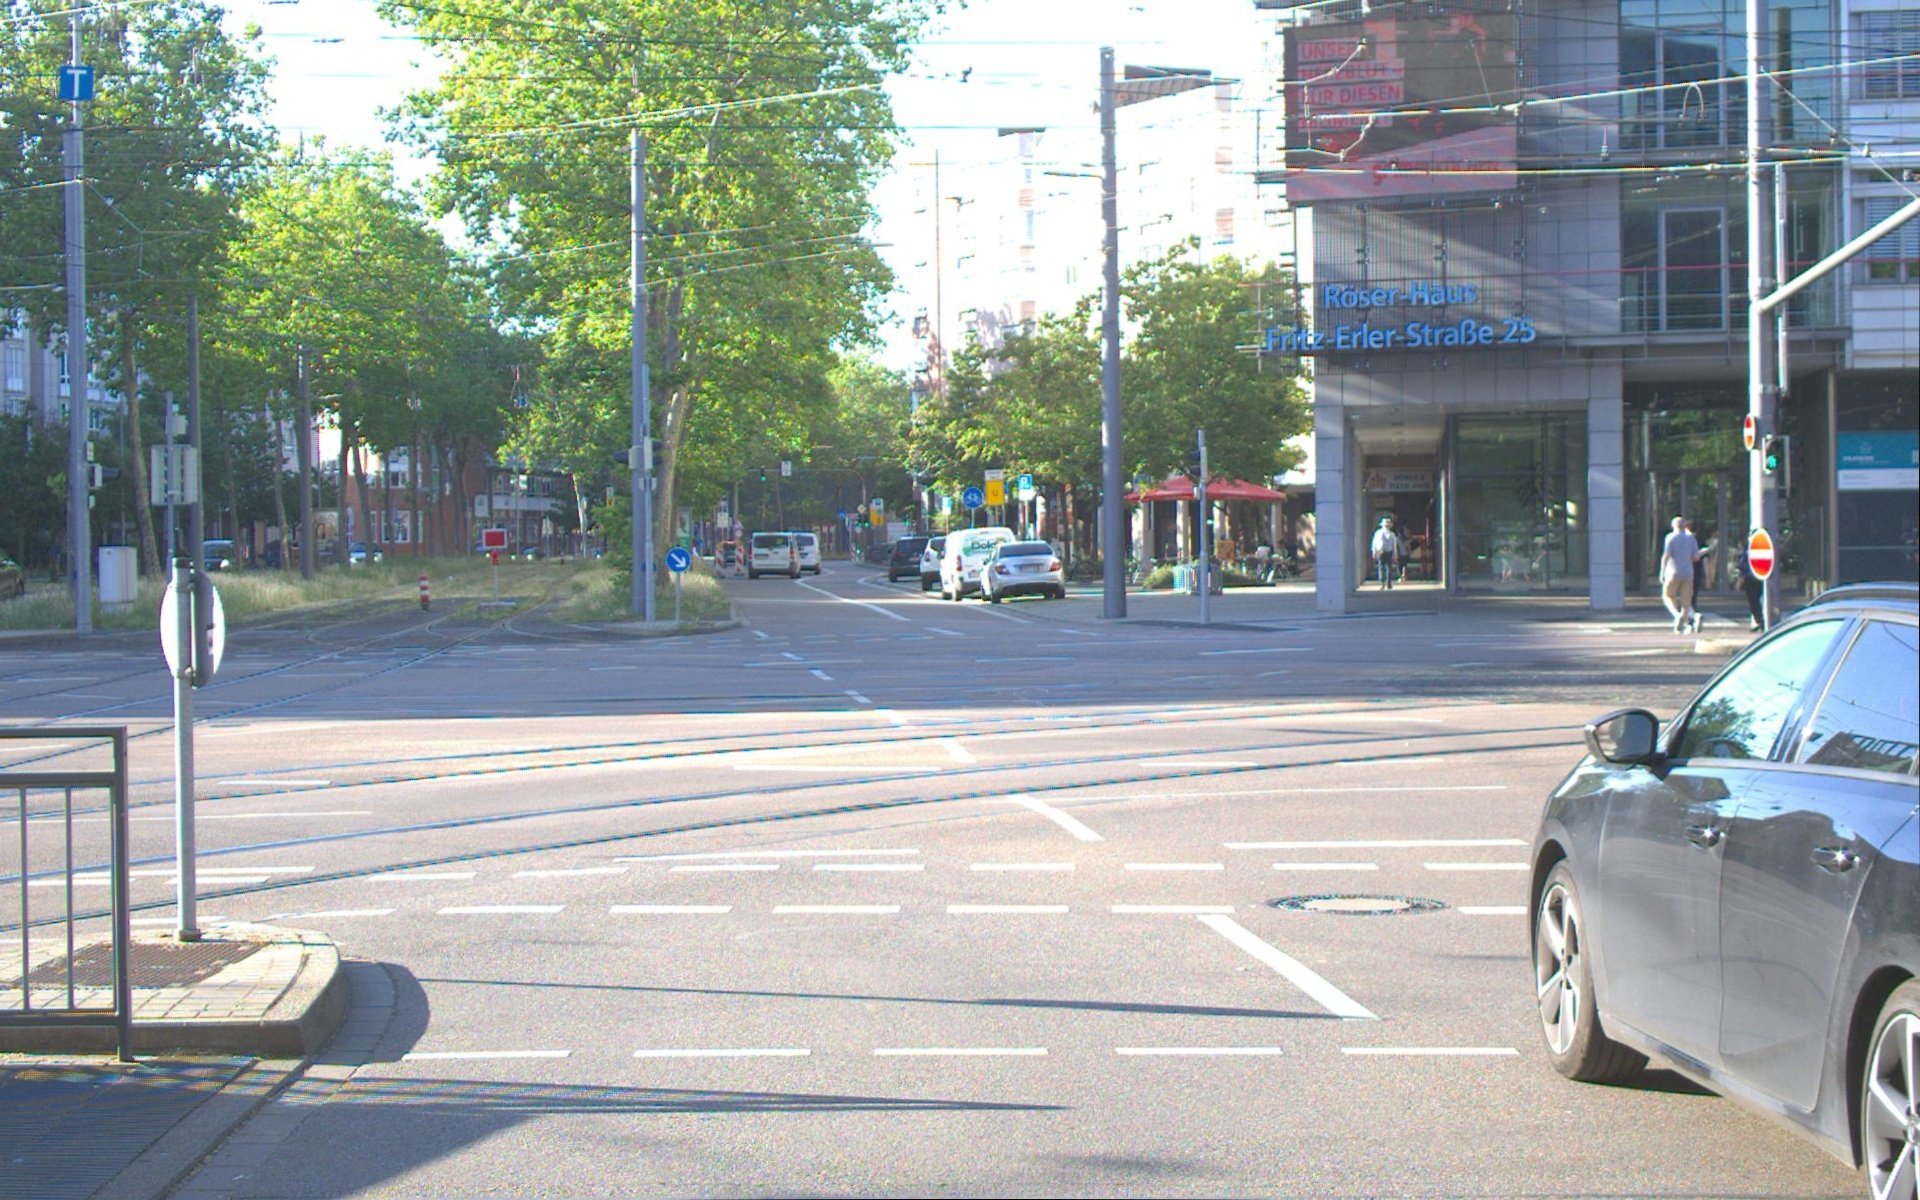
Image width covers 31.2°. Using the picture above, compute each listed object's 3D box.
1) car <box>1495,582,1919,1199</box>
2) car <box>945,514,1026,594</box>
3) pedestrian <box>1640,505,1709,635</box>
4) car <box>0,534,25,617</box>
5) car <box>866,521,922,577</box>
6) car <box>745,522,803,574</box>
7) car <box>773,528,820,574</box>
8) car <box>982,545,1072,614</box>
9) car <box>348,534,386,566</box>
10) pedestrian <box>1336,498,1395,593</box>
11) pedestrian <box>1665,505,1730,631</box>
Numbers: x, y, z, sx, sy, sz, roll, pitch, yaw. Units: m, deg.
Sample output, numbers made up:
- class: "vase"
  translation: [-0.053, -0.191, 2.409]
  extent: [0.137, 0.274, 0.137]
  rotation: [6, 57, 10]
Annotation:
- class: "car"
  translation: [2.631, 0.687, 8.112]
  extent: [1.763, 1.399, 4.297]
  rotation: [0, 1, -4]
- class: "car"
  translation: [0.645, -1.202, 89.614]
  extent: [1.993, 2.007, 4.000]
  rotation: [1, 1, -1]
- class: "pedestrian"
  translation: [11.186, -0.469, 53.827]
  extent: [0.869, 2.007, 0.794]
  rotation: [1, 0, -1]
- class: "car"
  translation: [-21.666, -0.534, 74.997]
  extent: [1.822, 1.784, 4.001]
  rotation: [-1, 1, -7]
- class: "car"
  translation: [-2.418, -1.858, 126.621]
  extent: [1.993, 2.007, 4.000]
  rotation: [1, 1, -1]
- class: "car"
  translation: [-7.341, -2.050, 136.042]
  extent: [1.993, 2.007, 4.000]
  rotation: [1, 1, 1]
- class: "car"
  translation: [-7.286, -2.194, 153.568]
  extent: [1.993, 2.007, 4.000]
  rotation: [1, 1, -2]
- class: "car"
  translation: [1.594, -0.495, 82.795]
  extent: [2.029, 1.590, 4.000]
  rotation: [1, 1, -1]
- class: "car"
  translation: [-30.417, -2.548, 176.470]
  extent: [1.676, 1.601, 4.001]
  rotation: [-1, 1, -7]
- class: "pedestrian"
  translation: [9.414, -1.264, 79.803]
  extent: [1.313, 2.182, 1.170]
  rotation: [1, 0, 6]
- class: "pedestrian"
  translation: [11.814, -0.512, 55.120]
  extent: [0.849, 2.007, 0.708]
  rotation: [1, 0, -1]
